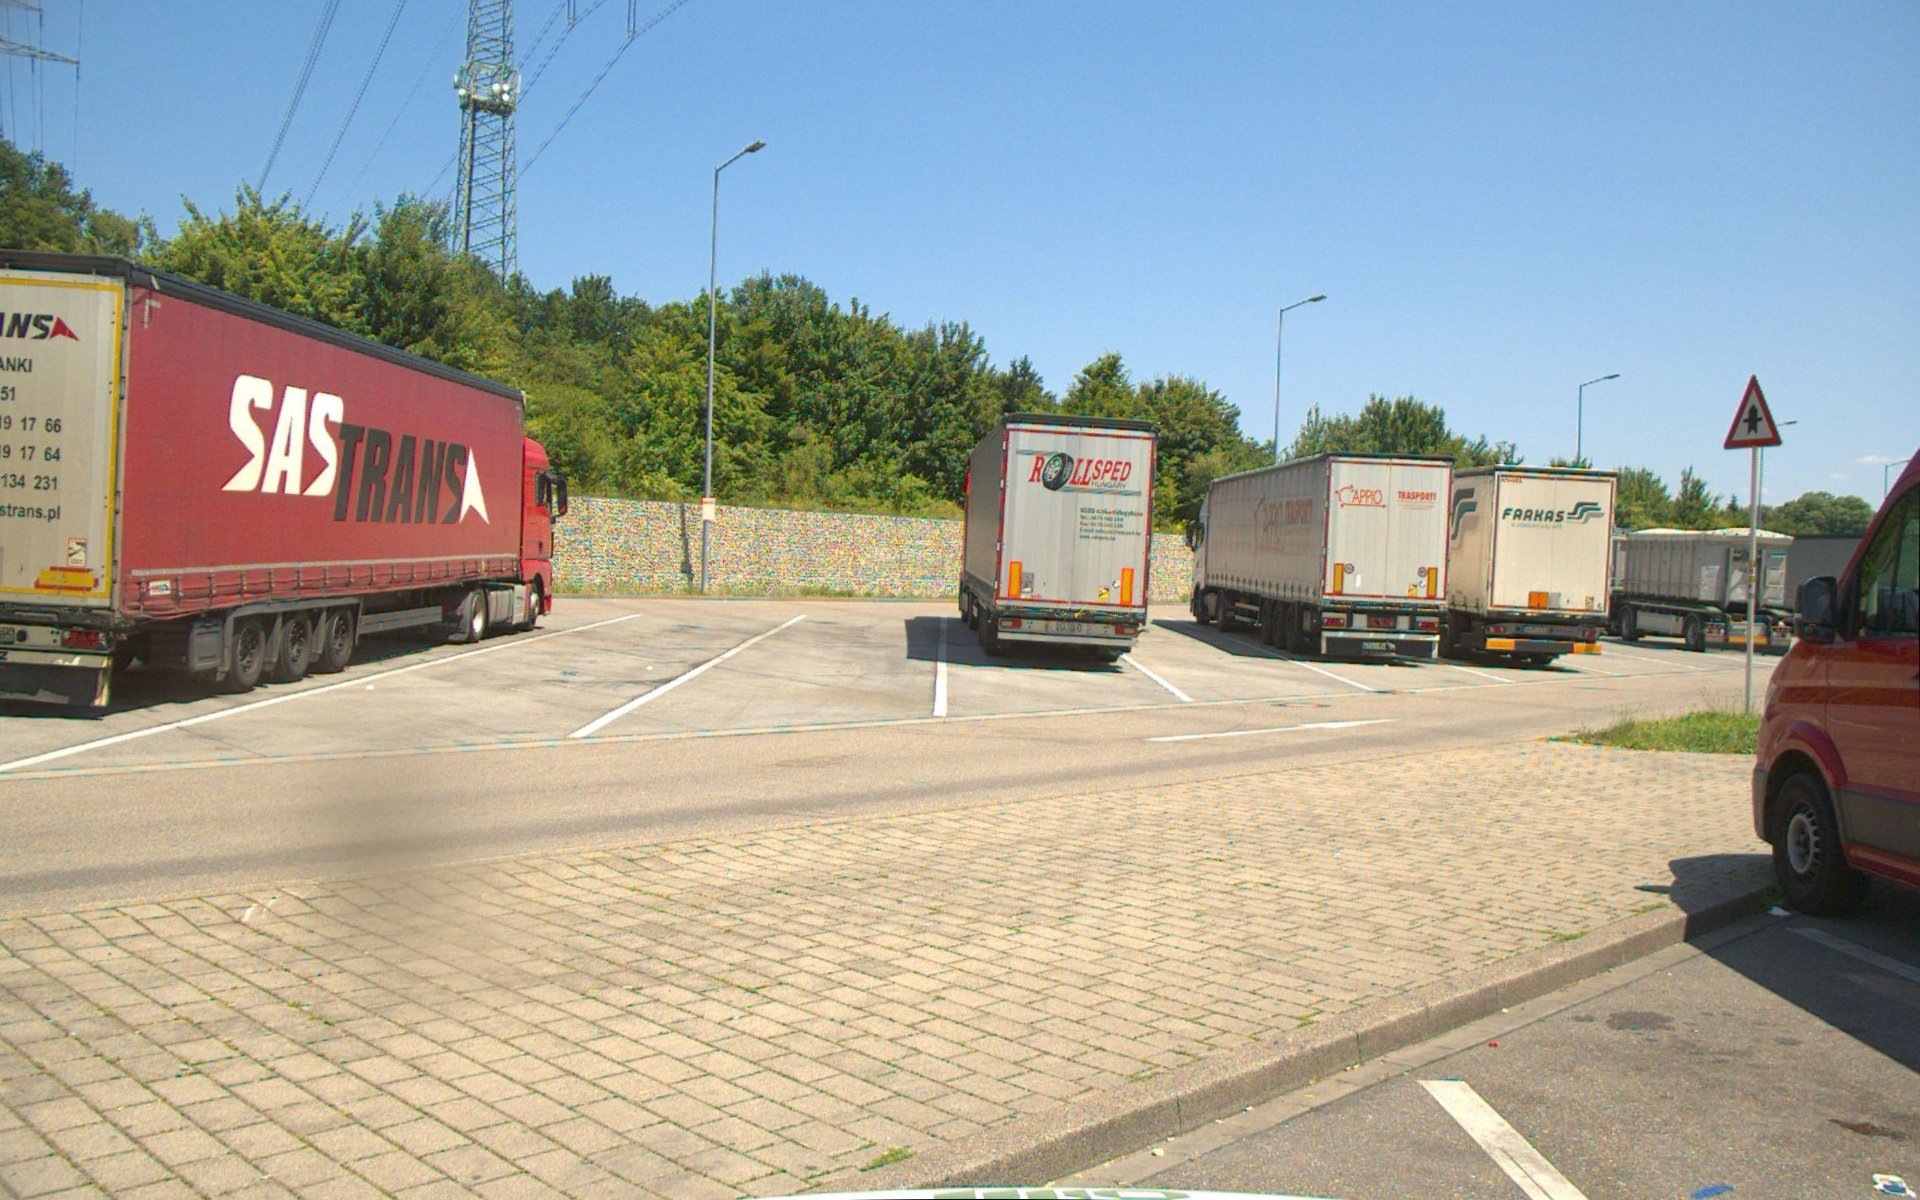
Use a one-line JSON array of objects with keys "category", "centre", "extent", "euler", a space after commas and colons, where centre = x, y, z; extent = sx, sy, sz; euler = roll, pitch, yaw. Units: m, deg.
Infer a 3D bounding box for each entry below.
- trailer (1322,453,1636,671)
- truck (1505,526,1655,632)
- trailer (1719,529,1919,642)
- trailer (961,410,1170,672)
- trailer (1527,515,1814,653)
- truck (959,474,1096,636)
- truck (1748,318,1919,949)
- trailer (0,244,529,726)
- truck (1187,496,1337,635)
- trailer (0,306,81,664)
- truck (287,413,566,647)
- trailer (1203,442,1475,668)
[{"category": "trailer", "centre": [11.771, -0.991, 39.562], "extent": [2.800, 4.180, 13.762], "euler": [2, 2, -1]}, {"category": "truck", "centre": [21.740, -0.793, 58.336], "extent": [2.808, 3.421, 5.974], "euler": [2, 2, -1]}, {"category": "trailer", "centre": [34.791, -0.707, 65.440], "extent": [2.800, 3.972, 13.762], "euler": [2, 2, -1]}, {"category": "trailer", "centre": [1.677, -1.176, 33.145], "extent": [2.800, 4.040, 13.761], "euler": [2, 2, -2]}, {"category": "trailer", "centre": [21.838, -0.680, 52.241], "extent": [2.800, 3.662, 13.762], "euler": [2, 2, -1]}, {"category": "truck", "centre": [1.476, -1.092, 39.343], "extent": [2.808, 3.421, 5.974], "euler": [2, 2, -1]}, {"category": "truck", "centre": [4.994, 0.154, 5.514], "extent": [1.969, 2.697, 6.457], "euler": [1, 0, 3]}, {"category": "trailer", "centre": [-8.690, -1.272, 21.248], "extent": [2.764, 4.141, 13.763], "euler": [2, 2, -1]}, {"category": "truck", "centre": [8.129, -0.984, 45.261], "extent": [2.808, 3.421, 5.974], "euler": [2, 2, -1]}, {"category": "trailer", "centre": [-12.487, -1.261, 15.792], "extent": [2.651, 4.173, 10.389], "euler": [2, 2, -1]}, {"category": "truck", "centre": [-8.798, -1.164, 28.064], "extent": [2.755, 3.421, 5.974], "euler": [2, 2, -1]}, {"category": "trailer", "centre": [8.251, -1.102, 38.498], "extent": [2.800, 4.180, 13.762], "euler": [2, 2, -1]}]
